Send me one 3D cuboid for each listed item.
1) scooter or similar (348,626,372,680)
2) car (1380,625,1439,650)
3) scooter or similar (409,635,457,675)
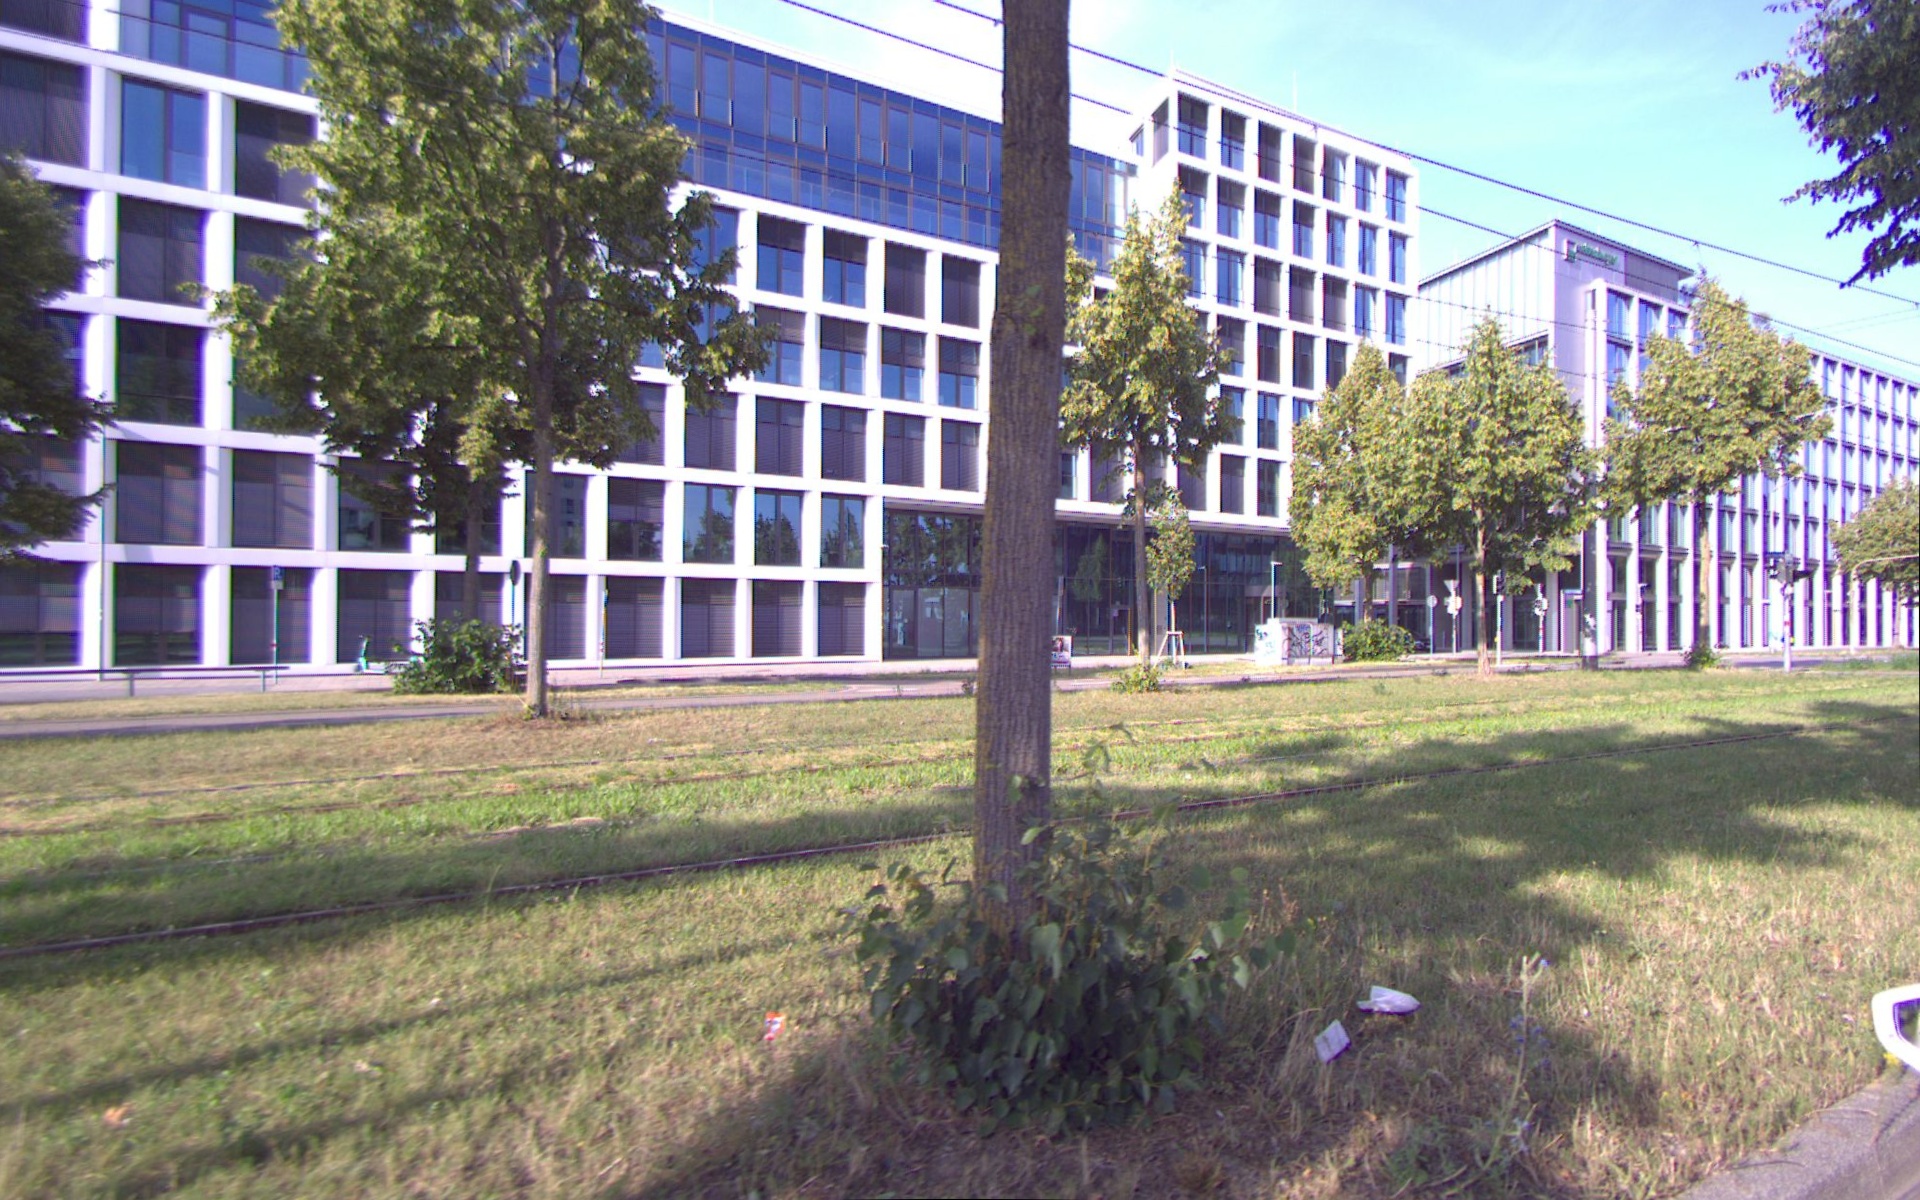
[{"bbox_3d":[-18.144,1.587,30.384,0.409,1.496,1.922,1,0,-25],"label":"scooter or similar"},{"bbox_3d":[29.369,2.430,65.696,1.551,1.443,3.497,1,0,-20],"label":"car"},{"bbox_3d":[-16.582,1.727,31.623,1.278,1.242,0.335,1,0,-17],"label":"scooter or similar"}]
